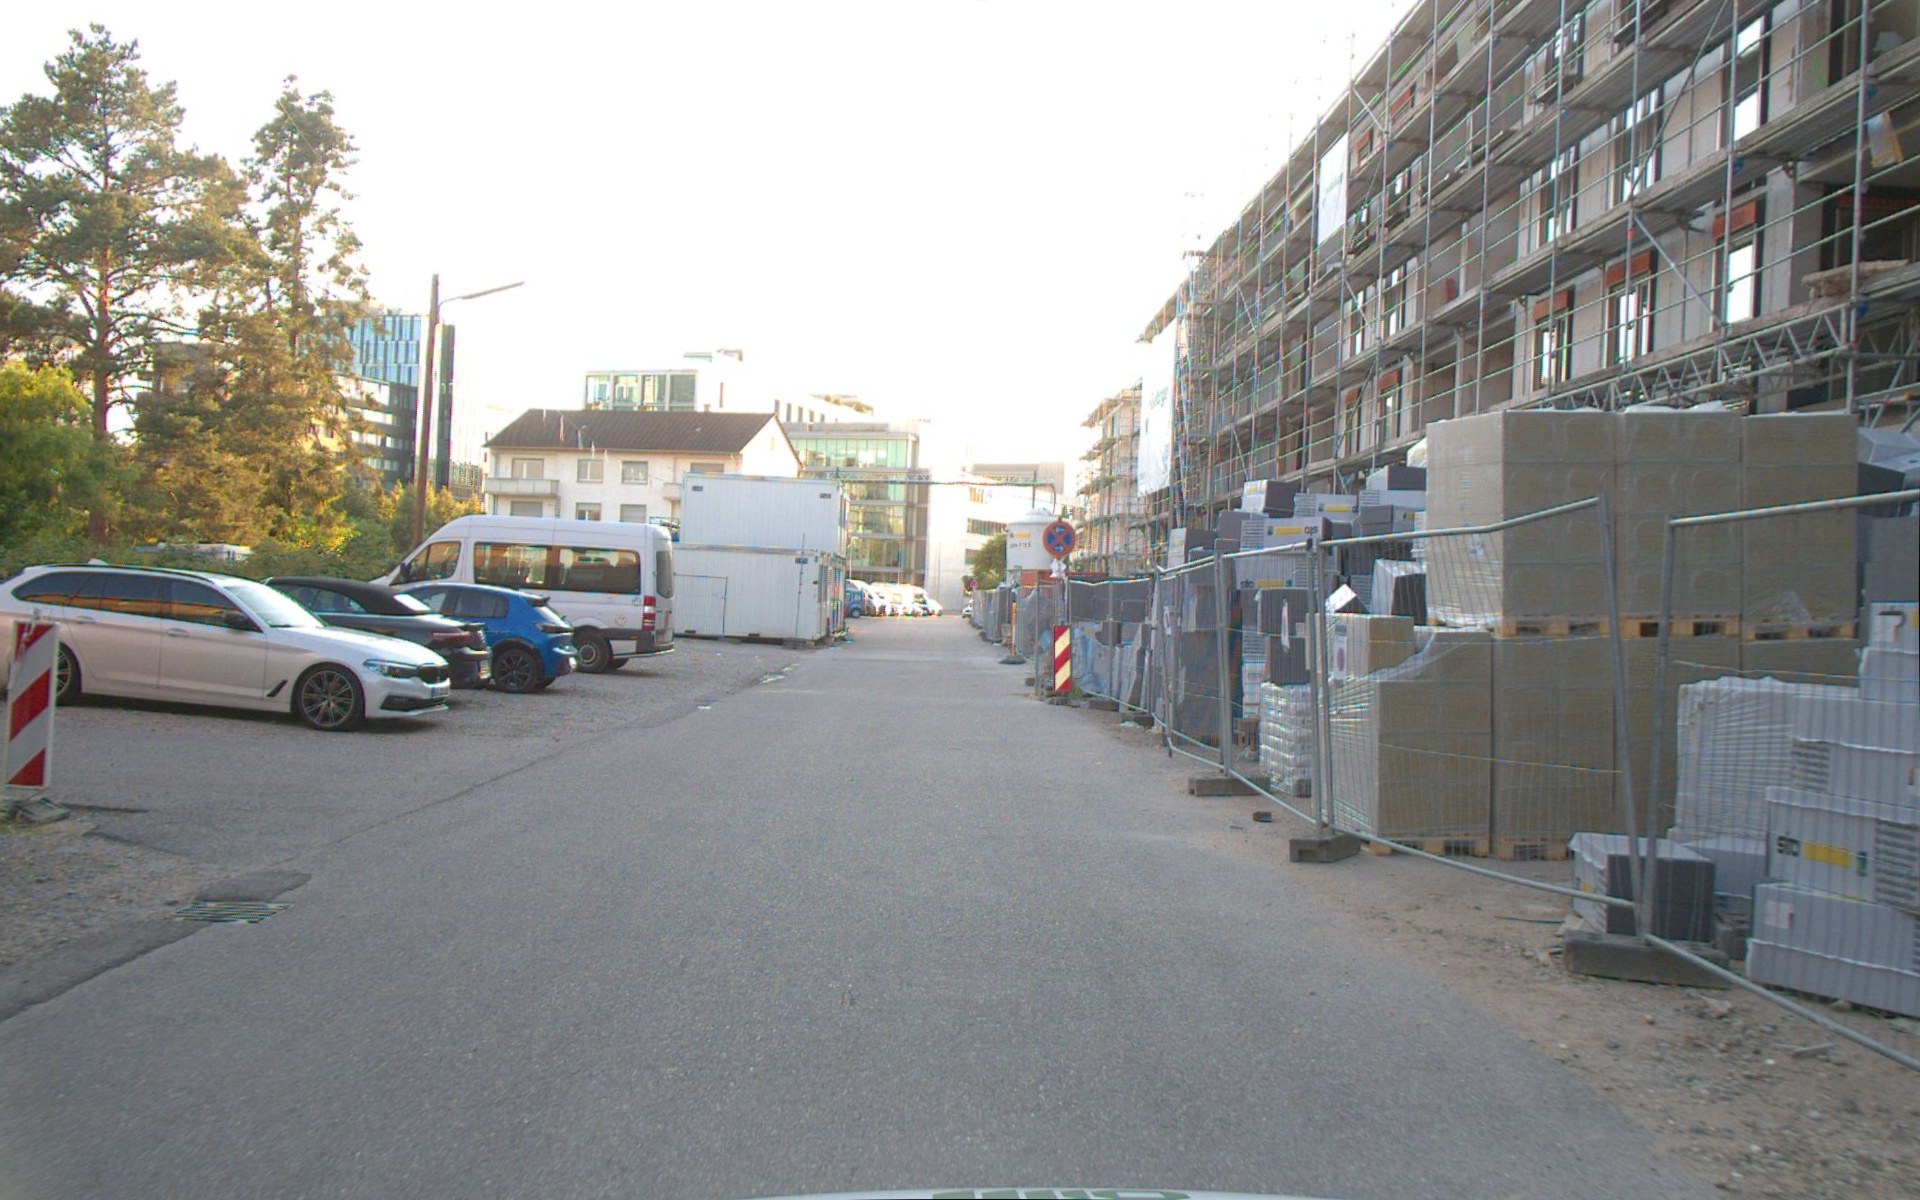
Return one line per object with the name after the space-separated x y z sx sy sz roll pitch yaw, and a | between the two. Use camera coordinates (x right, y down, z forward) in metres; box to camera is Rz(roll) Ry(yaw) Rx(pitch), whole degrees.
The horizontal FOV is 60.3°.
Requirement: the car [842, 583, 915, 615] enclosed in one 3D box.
-6.927 -0.074 140.645 5.797 2.533 2.002 2 0 10 | car

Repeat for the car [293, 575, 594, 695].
-7.378 0.493 23.906 3.761 1.454 1.726 3 -1 -3 | car

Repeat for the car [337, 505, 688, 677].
-7.961 -0.148 29.853 5.572 2.672 2.222 3 -1 1 | car

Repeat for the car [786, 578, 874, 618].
-9.528 -0.141 121.272 6.199 2.697 2.000 2 0 -1 | car

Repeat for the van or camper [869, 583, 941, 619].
-5.120 0.054 154.442 6.198 3.031 2.294 3 -1 12 | van or camper

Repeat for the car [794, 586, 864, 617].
-8.537 0.102 107.450 4.417 1.901 1.997 2 0 -7 | car

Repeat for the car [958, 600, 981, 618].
0.880 0.824 154.025 1.629 1.555 3.913 2 0 8 | car

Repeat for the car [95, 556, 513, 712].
-7.872 0.406 20.194 4.330 1.571 1.726 3 -1 -4 | car

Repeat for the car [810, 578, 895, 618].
-8.127 -0.170 125.276 6.199 2.789 2.000 2 0 -1 | car

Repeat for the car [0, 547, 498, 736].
-7.775 0.413 17.797 4.892 1.571 2.116 4 -1 1 | car
